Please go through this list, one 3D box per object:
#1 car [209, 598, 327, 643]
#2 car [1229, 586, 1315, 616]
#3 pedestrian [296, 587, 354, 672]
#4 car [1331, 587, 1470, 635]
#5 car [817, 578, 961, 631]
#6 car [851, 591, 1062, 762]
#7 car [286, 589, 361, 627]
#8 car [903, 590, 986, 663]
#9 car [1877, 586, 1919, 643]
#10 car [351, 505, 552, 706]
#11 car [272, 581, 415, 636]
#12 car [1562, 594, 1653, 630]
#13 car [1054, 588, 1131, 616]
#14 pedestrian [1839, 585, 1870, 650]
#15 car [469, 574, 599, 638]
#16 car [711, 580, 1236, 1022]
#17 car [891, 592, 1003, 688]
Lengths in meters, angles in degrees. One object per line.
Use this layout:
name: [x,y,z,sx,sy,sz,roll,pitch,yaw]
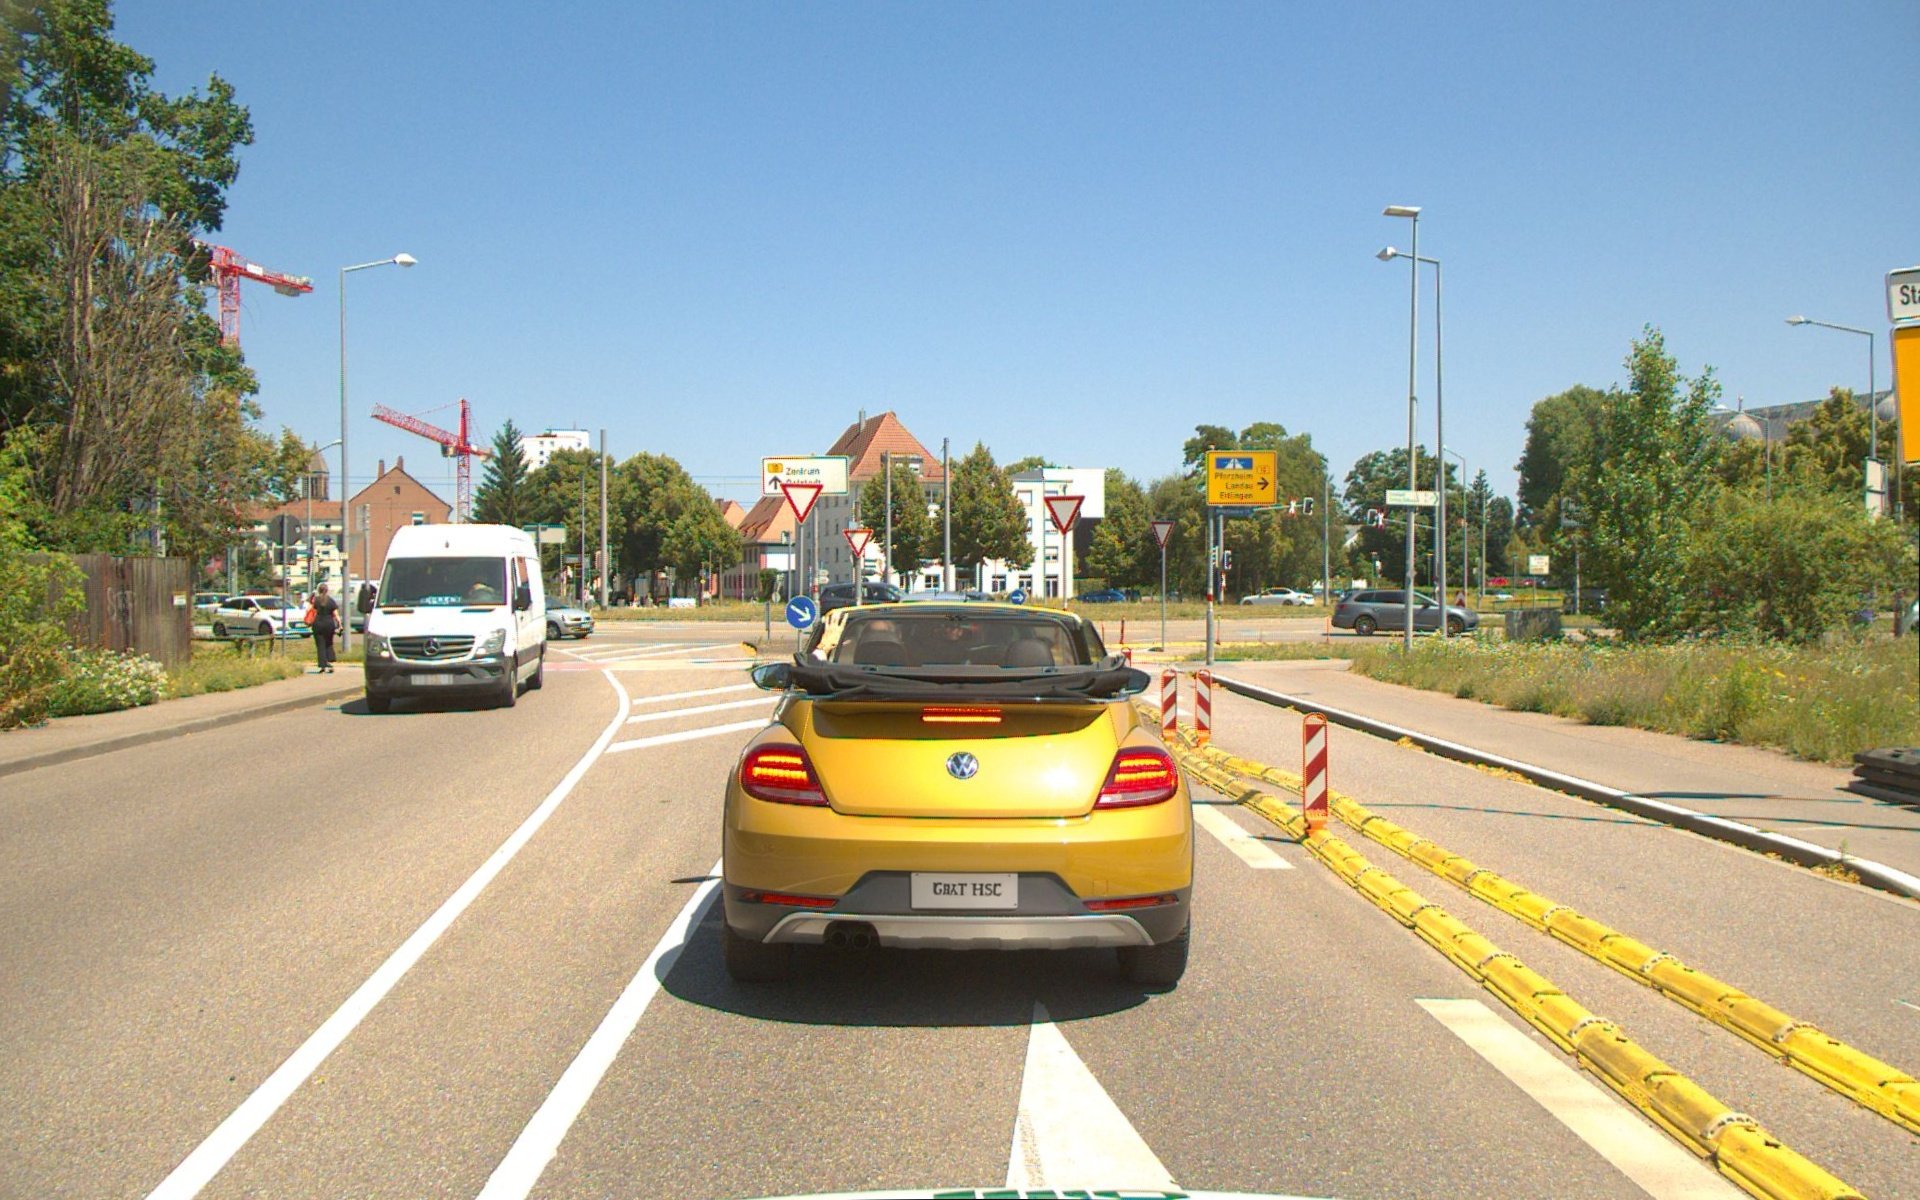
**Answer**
car: [-23.780,0.675,56.828,3.931,1.470,1.630,0,0,28]
car: [20.155,0.071,106.896,5.079,1.817,2.018,-1,0,37]
pedestrian: [-11.971,0.548,31.213,0.792,1.590,0.876,0,0,-5]
car: [13.624,0.338,51.356,4.104,1.415,1.903,0,0,13]
car: [-2.231,0.148,52.958,4.339,1.624,2.001,0,0,5]
car: [-0.060,0.656,16.272,1.810,1.467,3.999,0,0,-1]
car: [-27.587,0.326,71.785,1.720,1.576,3.999,0,0,-1]
car: [-0.352,0.540,36.341,1.701,1.503,3.999,0,0,-1]
car: [27.580,0.412,45.646,3.910,1.579,1.738,0,0,28]
car: [-7.471,0.055,24.997,1.983,2.583,6.812,-1,0,-10]
car: [-21.983,0.293,58.946,4.874,1.882,1.998,0,0,27]
car: [31.946,0.587,81.698,1.915,1.701,4.175,-1,0,-21]
car: [9.045,0.135,112.908,4.816,1.817,2.026,-1,0,23]
pedestrian: [22.168,0.426,40.987,0.487,1.590,0.514,0,0,-1]
car: [-13.267,0.197,51.570,3.589,1.882,1.633,-2,-1,19]
car: [0.012,0.660,7.332,1.717,1.447,3.776,0,0,-1]
car: [-0.224,0.610,27.364,1.701,1.467,3.999,0,0,-1]
